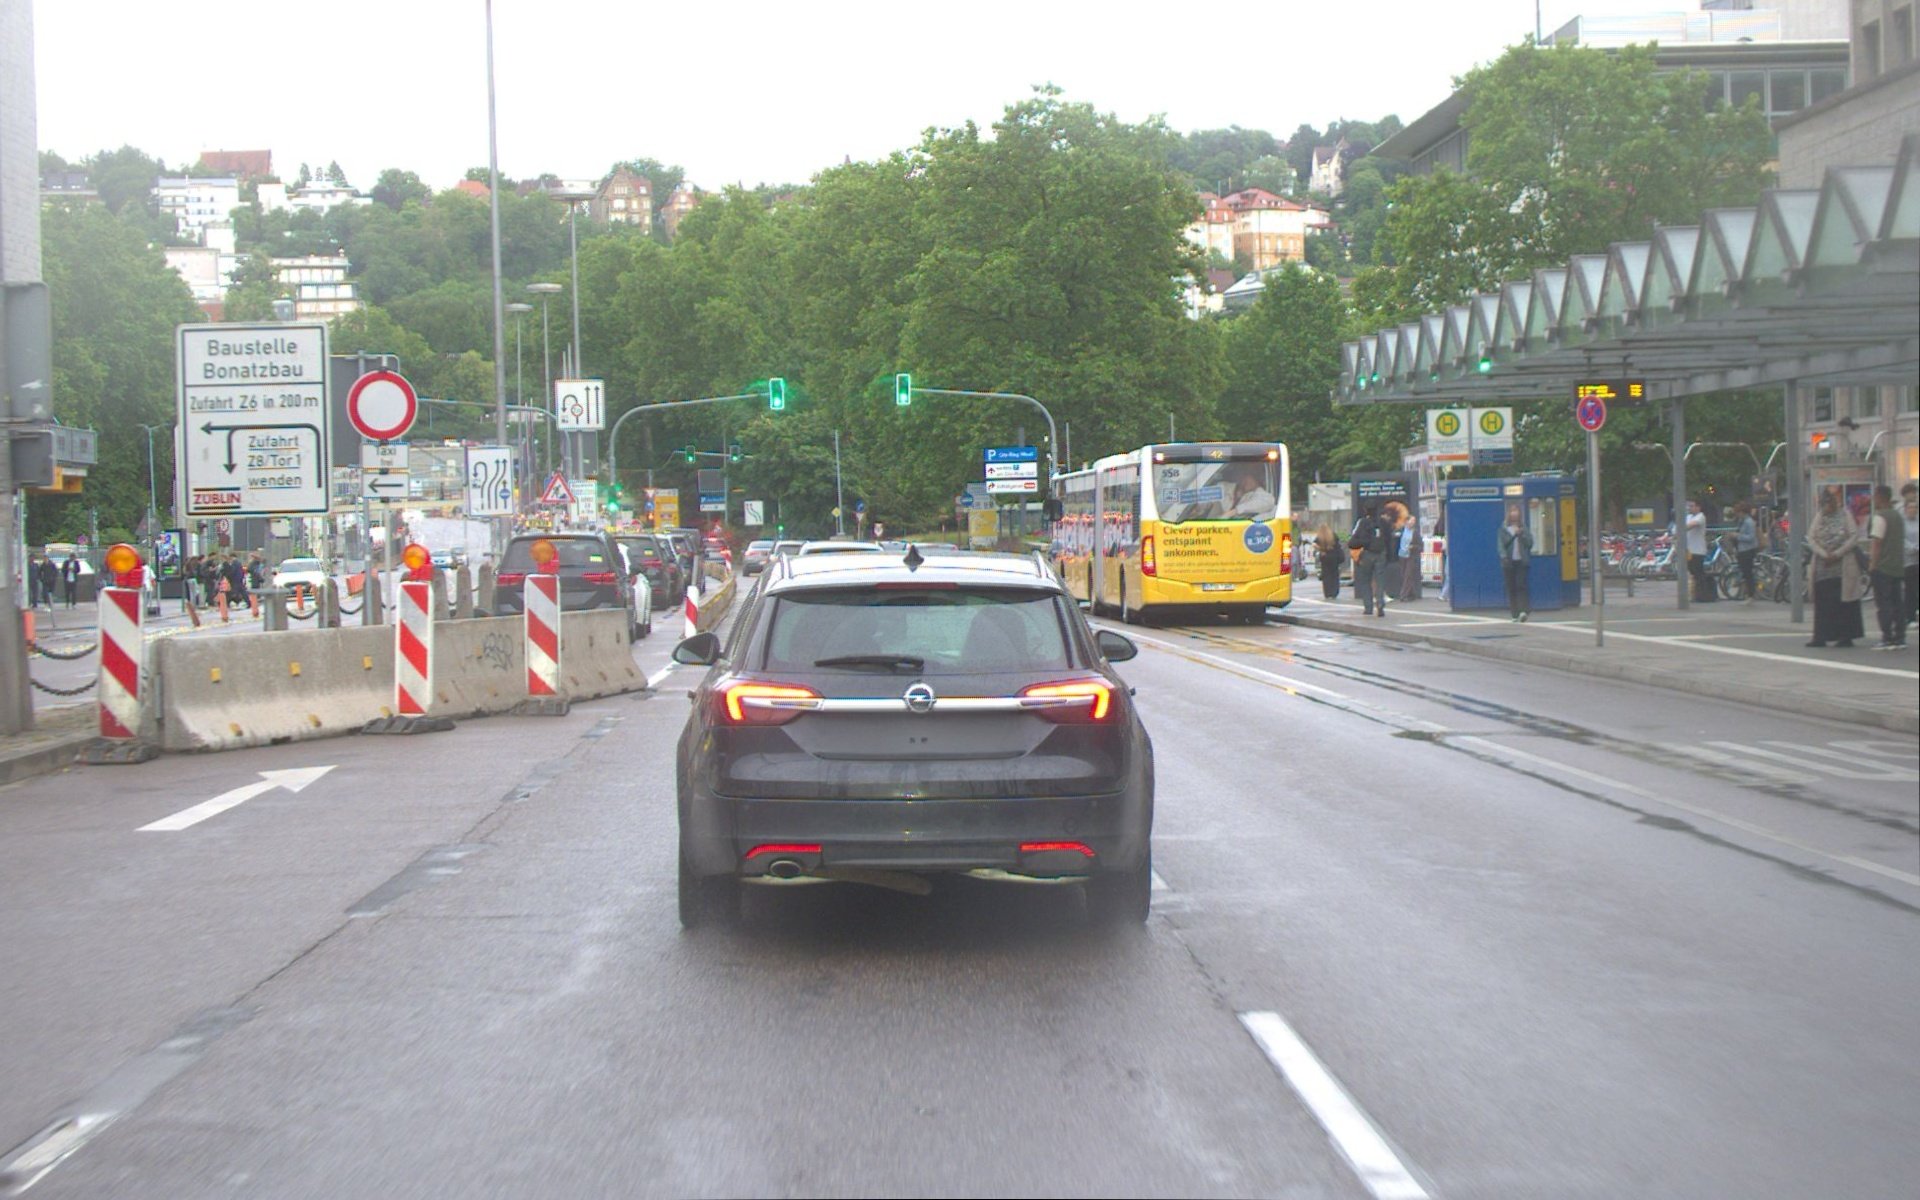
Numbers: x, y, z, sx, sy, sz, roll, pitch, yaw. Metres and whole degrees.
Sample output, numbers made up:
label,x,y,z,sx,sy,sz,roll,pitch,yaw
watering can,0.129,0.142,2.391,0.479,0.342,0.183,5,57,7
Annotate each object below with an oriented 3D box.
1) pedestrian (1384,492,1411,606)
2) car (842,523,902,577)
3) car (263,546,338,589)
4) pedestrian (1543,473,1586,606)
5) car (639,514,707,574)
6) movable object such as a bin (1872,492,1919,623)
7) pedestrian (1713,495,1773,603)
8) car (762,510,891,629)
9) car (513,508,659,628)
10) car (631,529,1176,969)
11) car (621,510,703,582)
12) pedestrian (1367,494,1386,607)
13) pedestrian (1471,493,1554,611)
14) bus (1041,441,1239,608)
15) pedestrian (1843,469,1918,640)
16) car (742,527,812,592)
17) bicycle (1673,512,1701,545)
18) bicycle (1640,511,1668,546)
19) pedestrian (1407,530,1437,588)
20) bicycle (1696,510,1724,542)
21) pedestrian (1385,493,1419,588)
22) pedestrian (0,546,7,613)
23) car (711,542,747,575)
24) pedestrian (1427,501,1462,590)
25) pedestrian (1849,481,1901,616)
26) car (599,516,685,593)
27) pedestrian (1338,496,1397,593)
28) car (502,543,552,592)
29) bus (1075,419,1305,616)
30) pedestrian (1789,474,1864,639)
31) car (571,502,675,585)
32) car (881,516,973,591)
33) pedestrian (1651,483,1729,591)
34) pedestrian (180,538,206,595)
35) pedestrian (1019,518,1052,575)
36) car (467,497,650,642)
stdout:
label,x,y,z,sx,sy,sz,roll,pitch,yaw
pedestrian,7.107,-0.834,55.867,0.347,1.830,0.533,-1,1,1
car,-2.652,-1.481,102.880,1.674,1.576,3.240,0,1,-3
car,-22.881,-1.142,119.365,1.993,1.463,4.000,0,1,-2
pedestrian,10.101,-1.007,57.423,0.590,2.207,0.587,-1,1,0
car,-8.503,-1.670,101.983,1.786,1.680,4.667,-2,1,-3
movable object such as a bin,12.237,-0.550,43.815,0.662,1.646,1.049,-1,1,-25
pedestrian,12.496,-0.820,54.884,0.748,1.689,0.902,-1,1,1
car,-1.979,-0.479,51.968,1.830,1.680,4.134,-1,1,-1
car,-5.716,-0.518,53.074,1.993,1.700,4.833,-2,1,-4
car,-0.226,0.474,14.432,1.877,1.503,4.852,-1,1,-1
car,-7.817,-1.426,90.441,1.993,1.781,4.848,-2,1,-4
pedestrian,6.760,-0.809,55.826,0.243,1.830,0.512,-1,1,1
pedestrian,8.037,-0.702,50.042,0.759,1.684,0.999,-1,1,-23
bus,3.557,-1.500,70.491,3.113,3.194,9.243,0,1,-3
pedestrian,10.003,-0.495,37.384,0.627,1.830,0.641,-1,1,0
car,-5.770,-1.266,108.098,1.983,2.007,4.370,0,1,-6
bicycle,24.059,-2.382,113.765,0.616,1.052,1.996,-3,1,5
bicycle,22.941,-2.378,113.712,0.616,1.098,2.024,-3,1,5
pedestrian,10.044,-0.897,74.756,0.514,1.228,0.770,-2,1,1
bicycle,24.805,-2.452,113.762,0.616,1.022,1.996,-3,1,5
pedestrian,8.618,-1.168,67.019,0.565,1.830,0.569,-1,1,1
pedestrian,-24.319,-0.511,86.403,0.681,1.679,0.839,-1,1,-16
car,-11.590,-2.092,172.598,1.706,1.660,3.706,0,1,-2
pedestrian,9.435,-1.054,66.964,0.609,1.717,0.592,-1,1,2
pedestrian,12.774,-0.721,48.002,0.607,1.853,0.625,-1,1,7
car,-7.777,-1.138,84.438,1.993,1.781,4.455,-2,1,-4
pedestrian,7.747,-1.059,65.369,0.985,1.830,0.835,-1,1,14
car,-17.989,-1.362,142.739,1.993,2.007,5.371,0,1,-8
bus,3.959,-1.416,61.330,3.141,3.236,9.136,0,1,-2
pedestrian,9.717,-0.490,38.579,0.675,1.830,0.574,-1,1,0
car,-7.108,-1.203,72.938,1.993,1.648,4.642,-2,1,-4
car,-0.800,-1.089,80.479,1.851,1.711,4.001,0,1,-5
pedestrian,12.362,-1.057,58.222,0.786,1.798,0.993,-2,1,-30
pedestrian,-24.832,-1.098,111.322,0.697,1.835,0.878,0,1,-4
pedestrian,2.472,-1.748,112.541,0.786,1.832,0.950,-2,1,-17
car,-5.500,-0.450,47.655,1.993,1.856,4.833,-2,1,-1
